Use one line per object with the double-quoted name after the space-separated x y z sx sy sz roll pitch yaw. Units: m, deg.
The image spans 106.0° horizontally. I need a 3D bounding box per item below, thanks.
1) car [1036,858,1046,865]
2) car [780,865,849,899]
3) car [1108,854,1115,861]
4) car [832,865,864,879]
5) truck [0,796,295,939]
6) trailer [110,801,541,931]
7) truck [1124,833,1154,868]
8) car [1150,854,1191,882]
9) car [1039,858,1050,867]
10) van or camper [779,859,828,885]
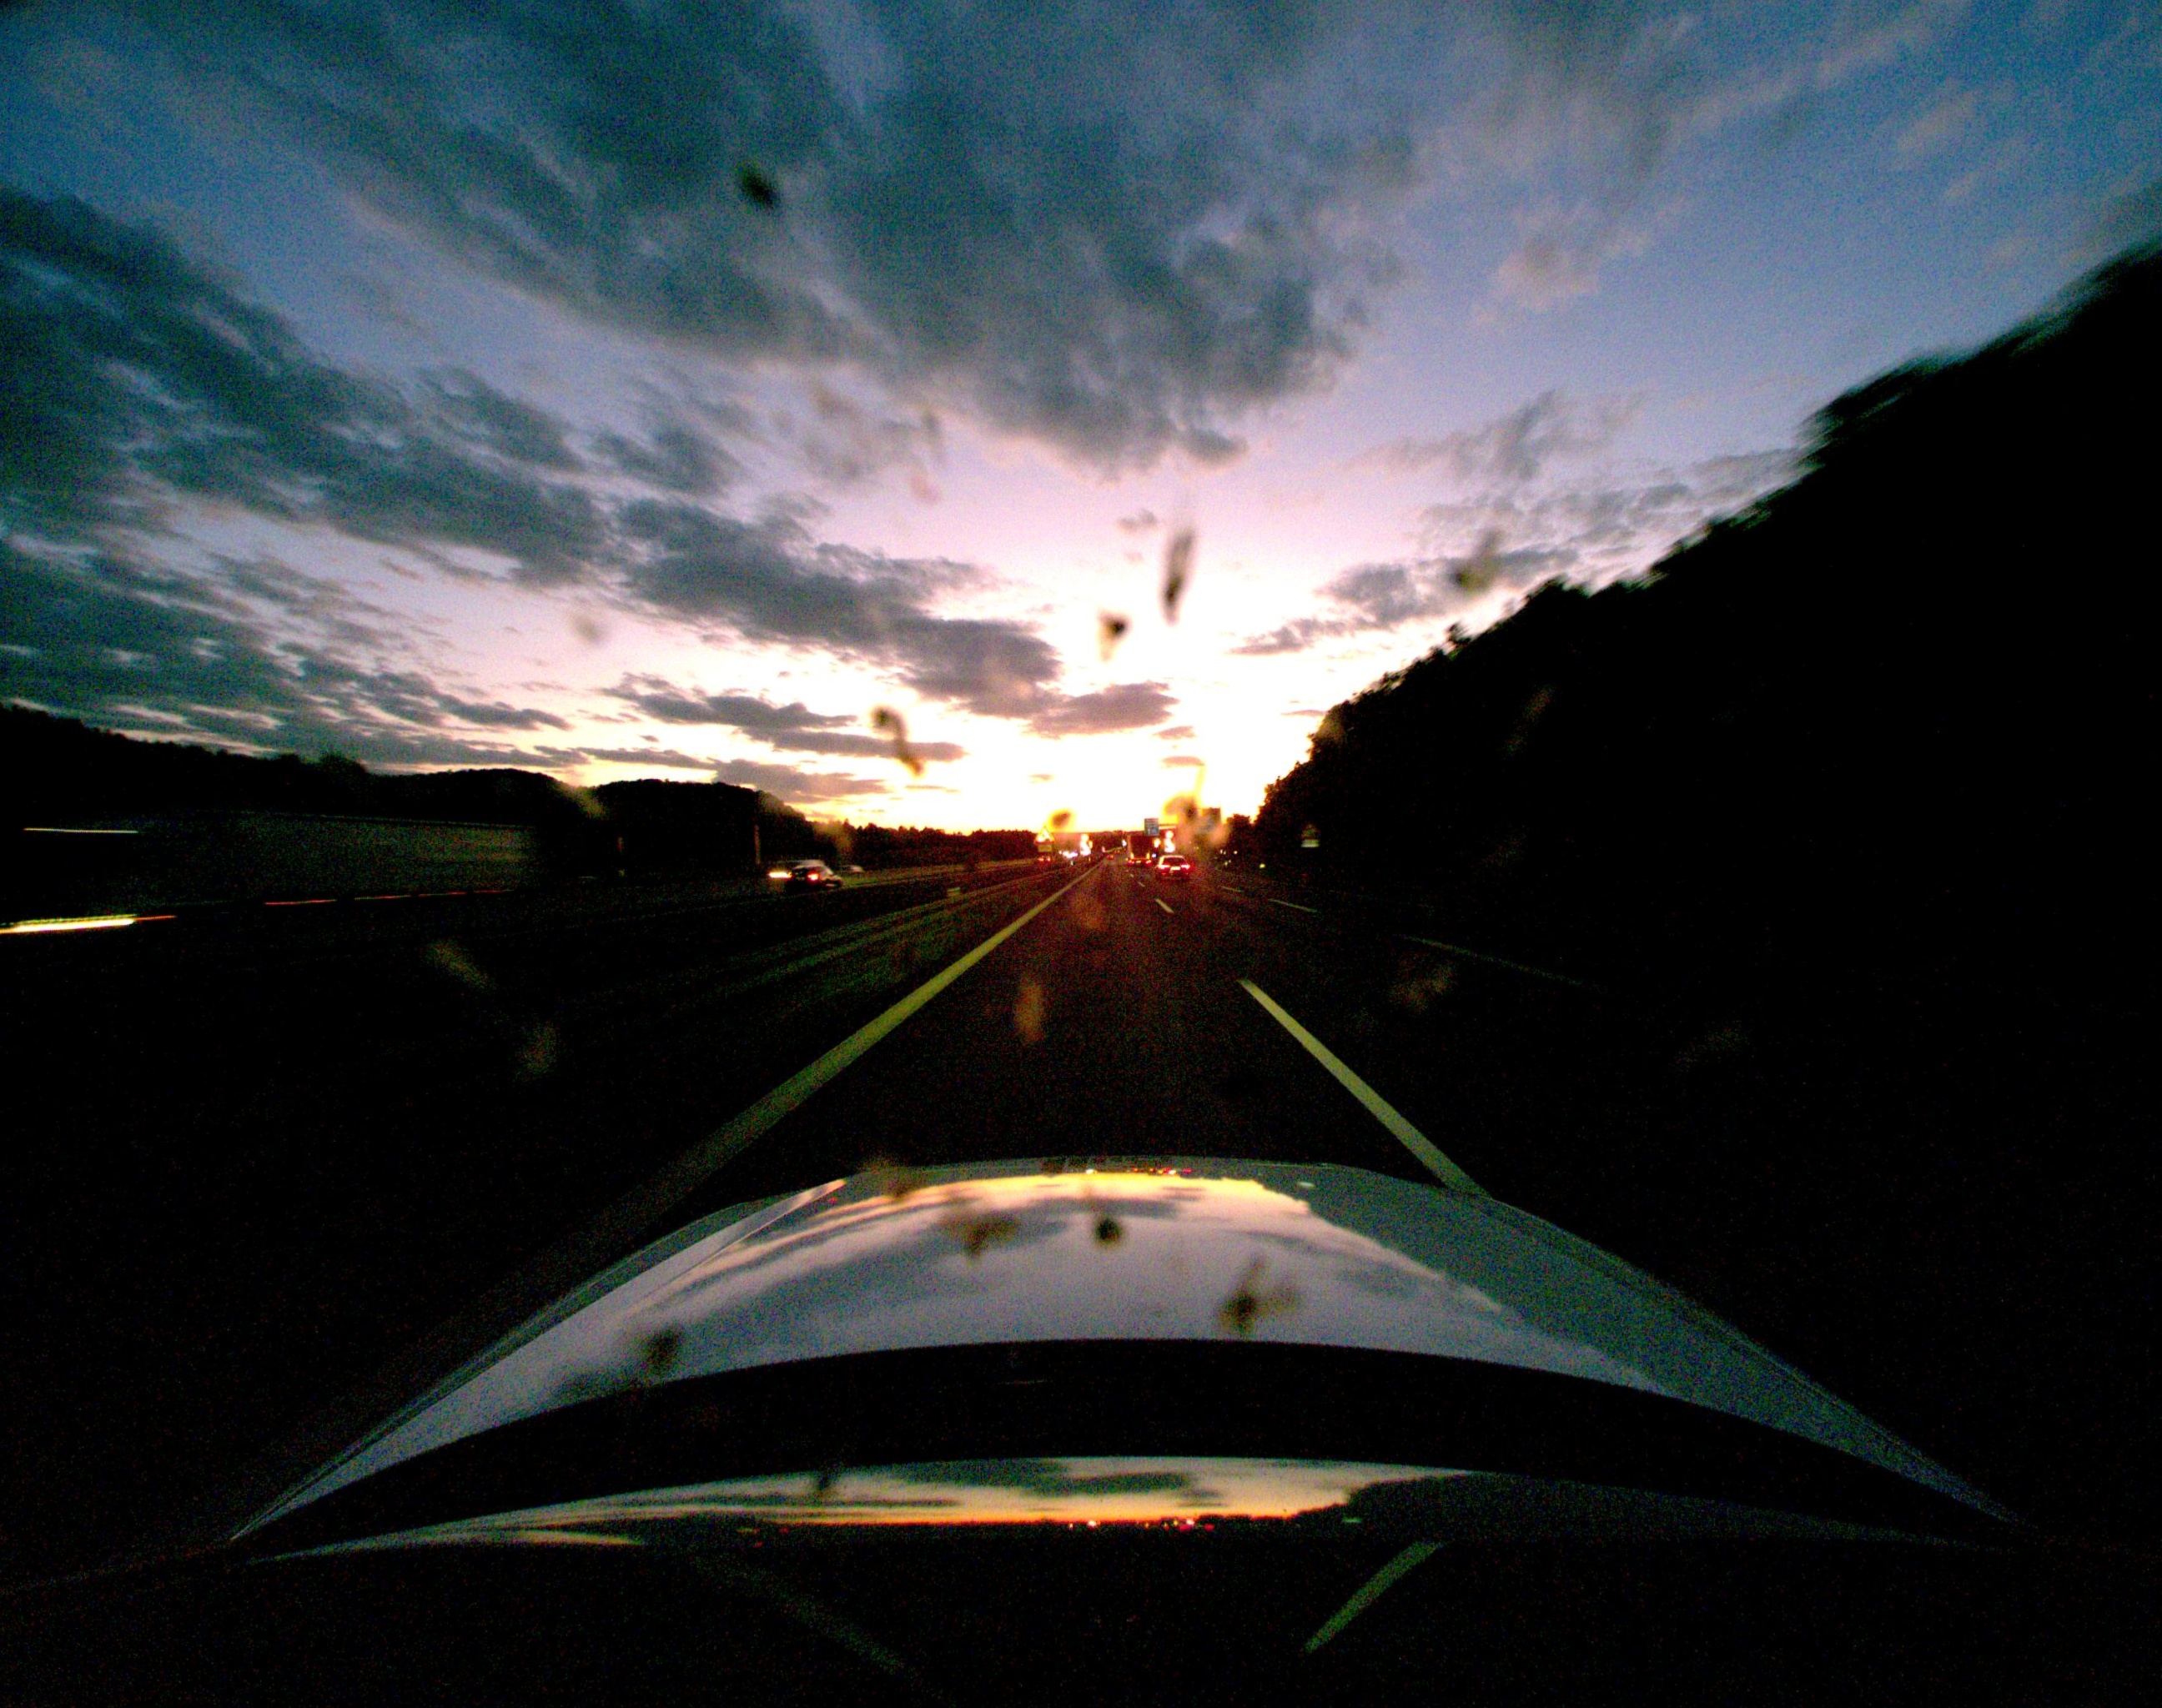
-8.598 1.616 175.613 1.631 1.546 3.397 -3 -1 2 "car"
-13.661 1.381 41.975 1.865 1.561 4.521 -3 -1 2 "car"
9.603 1.027 253.790 1.986 2.013 4.002 -3 -1 2 "car"
-22.727 1.772 79.683 1.745 1.250 4.215 -3 -1 2 "car"
-27.650 0.395 24.057 3.298 3.619 5.499 -3 -1 1 "truck"
-27.416 0.400 31.512 3.315 3.765 13.890 -3 -1 2 "trailer"
7.820 -0.437 110.670 3.497 4.301 9.894 -3 -1 2 "truck"
5.141 0.799 47.155 1.908 1.442 4.000 -3 -1 1 "car"
-6.808 1.521 152.518 1.706 1.605 3.724 -3 -1 2 "car"
-21.988 1.369 64.776 1.884 1.907 5.540 -1 0 0 "van or camper"
